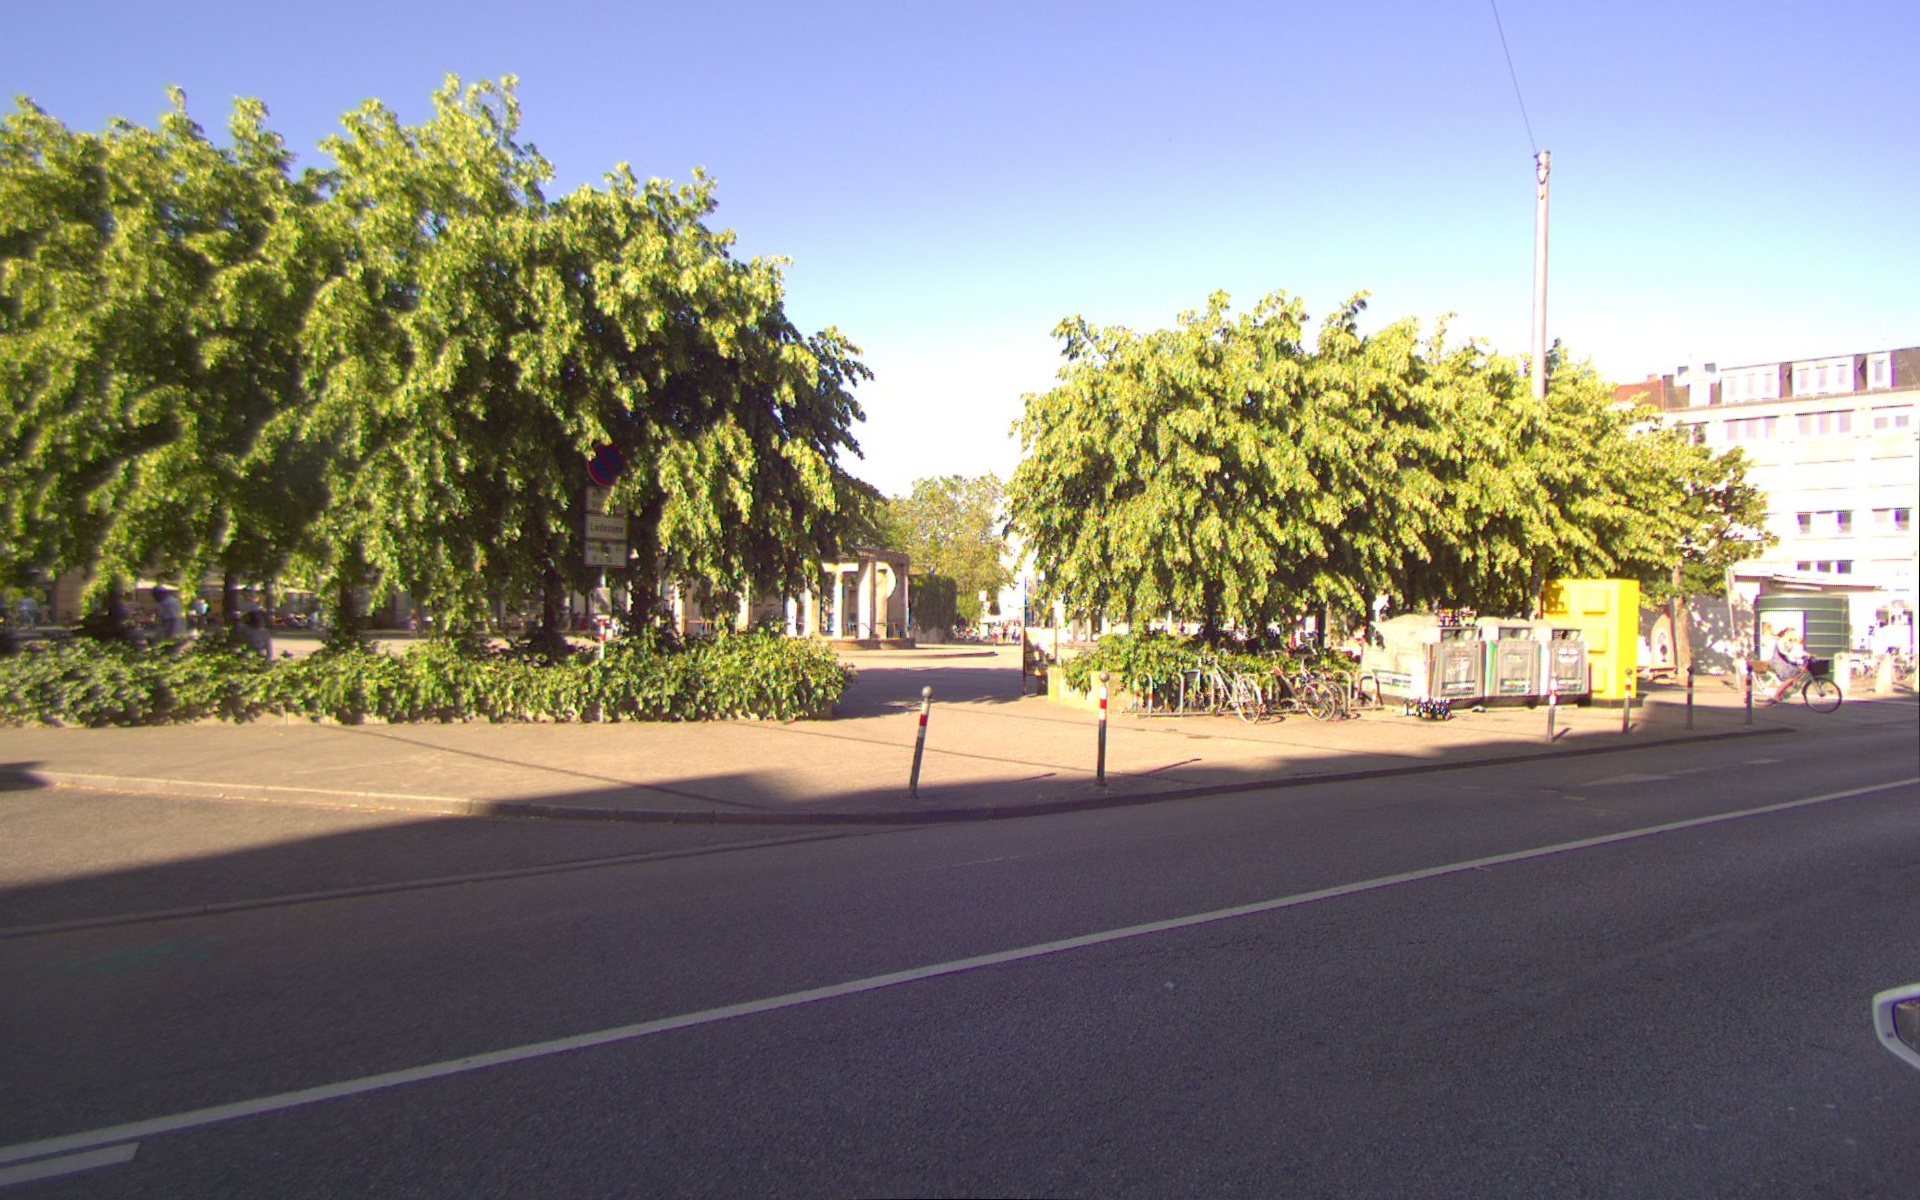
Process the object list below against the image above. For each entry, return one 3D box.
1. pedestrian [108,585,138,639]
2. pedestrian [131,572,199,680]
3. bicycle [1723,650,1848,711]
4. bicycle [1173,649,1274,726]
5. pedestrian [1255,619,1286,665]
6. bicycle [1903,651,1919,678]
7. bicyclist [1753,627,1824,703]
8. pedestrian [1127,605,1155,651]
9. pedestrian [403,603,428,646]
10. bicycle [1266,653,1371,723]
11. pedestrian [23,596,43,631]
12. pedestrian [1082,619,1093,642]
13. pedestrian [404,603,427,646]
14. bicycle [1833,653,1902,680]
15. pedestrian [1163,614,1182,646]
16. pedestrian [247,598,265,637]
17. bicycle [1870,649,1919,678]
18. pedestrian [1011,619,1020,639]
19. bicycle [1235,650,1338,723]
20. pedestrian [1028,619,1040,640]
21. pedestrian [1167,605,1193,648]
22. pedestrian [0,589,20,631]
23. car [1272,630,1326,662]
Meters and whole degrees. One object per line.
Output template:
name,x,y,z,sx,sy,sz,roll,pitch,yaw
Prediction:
pedestrian,-27.494,0.396,32.994,0.599,1.744,0.644,2,0,41
pedestrian,-12.670,0.406,16.022,0.615,1.671,0.654,2,0,-16
bicycle,17.207,1.646,20.989,0.698,1.133,1.931,1,-1,-20
bicycle,4.066,1.330,15.650,0.508,1.029,1.930,2,0,-19
pedestrian,14.384,1.926,46.519,1.034,2.040,1.038,2,0,-1
bicycle,35.095,2.336,35.960,0.599,0.946,1.854,2,0,-30
bicyclist,17.241,1.341,20.922,0.691,1.502,0.889,2,0,-20
pedestrian,8.097,1.243,44.981,0.875,2.040,0.896,1,0,-17
pedestrian,-22.495,1.026,41.486,0.598,1.744,0.645,2,0,32
bicycle,5.822,1.406,16.412,0.508,0.968,1.898,2,0,-20
pedestrian,-47.562,0.701,51.511,0.599,1.744,0.644,2,0,39
pedestrian,12.632,3.038,99.572,0.860,2.199,0.902,2,0,-5
pedestrian,-22.489,1.026,41.485,0.599,1.744,0.644,2,0,37
bicycle,30.815,2.249,34.123,0.600,0.802,1.634,2,0,-33
pedestrian,11.647,1.662,55.003,0.774,1.720,0.763,1,0,-6
pedestrian,-36.286,0.881,51.794,0.669,1.974,0.634,2,0,-33
bicycle,33.160,2.226,35.156,0.599,0.946,1.855,1,-1,-30
pedestrian,5.365,2.752,96.652,0.718,1.862,0.697,2,0,-5
bicycle,5.253,1.369,16.294,0.508,1.016,1.923,2,0,-20
pedestrian,7.333,2.925,99.830,1.014,2.040,1.159,2,0,-5
pedestrian,10.696,1.281,48.845,0.875,2.040,0.896,1,0,-17
pedestrian,-39.485,0.420,41.705,0.600,1.744,0.643,2,0,45
car,16.504,2.206,49.082,1.658,1.405,3.575,1,-1,5
